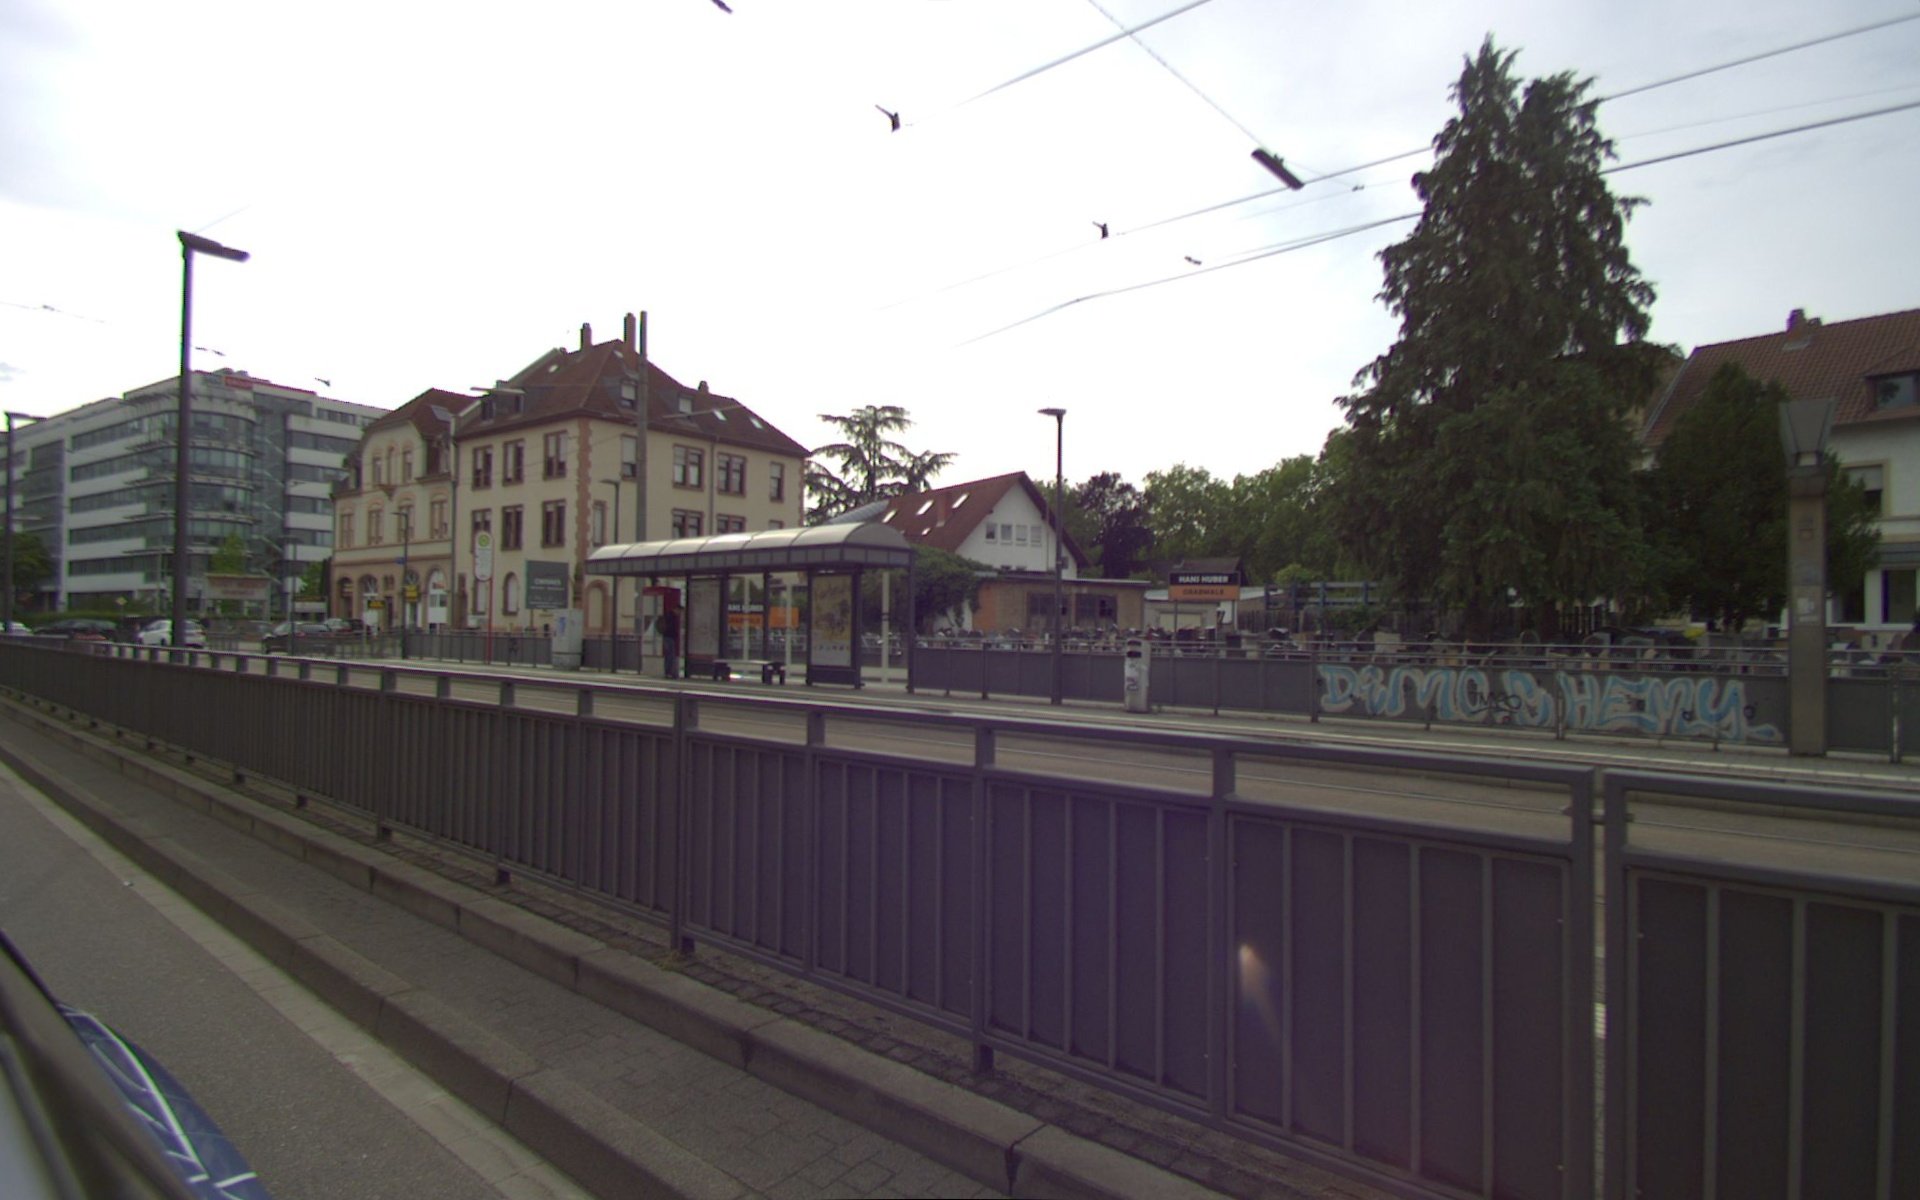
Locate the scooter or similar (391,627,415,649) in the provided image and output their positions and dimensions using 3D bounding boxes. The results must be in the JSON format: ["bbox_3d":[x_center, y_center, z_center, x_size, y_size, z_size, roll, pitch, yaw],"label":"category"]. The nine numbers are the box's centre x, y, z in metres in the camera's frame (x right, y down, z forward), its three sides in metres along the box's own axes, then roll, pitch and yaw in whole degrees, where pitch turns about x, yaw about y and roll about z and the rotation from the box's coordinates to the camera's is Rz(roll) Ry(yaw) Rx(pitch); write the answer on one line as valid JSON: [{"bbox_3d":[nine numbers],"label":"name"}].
[{"bbox_3d":[-28.993,1.987,52.712,0.521,1.110,1.175,0,-1,7],"label":"scooter or similar"}]

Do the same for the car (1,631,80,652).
[{"bbox_3d":[-67.214,3.028,74.062,3.918,1.462,1.822,2,-2,-30],"label":"car"}]

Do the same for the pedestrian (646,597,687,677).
[{"bbox_3d":[-6.281,0.784,21.688,0.610,1.677,0.695,0,-1,8],"label":"pedestrian"}]

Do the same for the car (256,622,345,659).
[{"bbox_3d":[-27.911,1.686,42.817,3.991,1.462,1.748,0,-3,35],"label":"car"}]

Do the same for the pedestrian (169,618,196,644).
[{"bbox_3d":[-61.356,2.464,79.821,1.180,2.029,1.207,0,-2,21],"label":"pedestrian"}]

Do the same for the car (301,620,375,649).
[{"bbox_3d":[-36.232,1.960,58.905,4.893,1.504,1.976,0,2,36],"label":"car"}]

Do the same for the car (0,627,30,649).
[{"bbox_3d":[-59.678,2.374,62.956,3.820,1.308,1.737,0,-2,32],"label":"car"}]

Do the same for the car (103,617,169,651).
[{"bbox_3d":[-52.839,2.111,64.845,5.173,2.029,1.969,0,0,35],"label":"car"}]

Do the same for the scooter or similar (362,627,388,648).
[{"bbox_3d":[-33.229,2.137,57.525,0.526,1.110,1.165,0,1,32],"label":"scooter or similar"}]

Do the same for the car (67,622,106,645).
[{"bbox_3d":[-61.964,2.360,71.837,1.767,1.542,4.149,4,-4,-38],"label":"car"}]

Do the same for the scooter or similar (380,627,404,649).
[{"bbox_3d":[-29.758,1.989,53.020,0.521,1.110,1.175,0,-1,7],"label":"scooter or similar"}]

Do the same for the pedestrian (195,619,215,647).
[{"bbox_3d":[-50.165,2.173,67.266,1.058,1.839,0.796,0,-1,38],"label":"pedestrian"}]

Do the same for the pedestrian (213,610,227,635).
[{"bbox_3d":[-53.807,1.632,73.561,0.761,1.787,0.628,-1,-1,40],"label":"pedestrian"}]

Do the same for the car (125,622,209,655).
[{"bbox_3d":[-39.357,1.916,50.220,3.983,1.497,1.852,0,-4,29],"label":"car"}]
